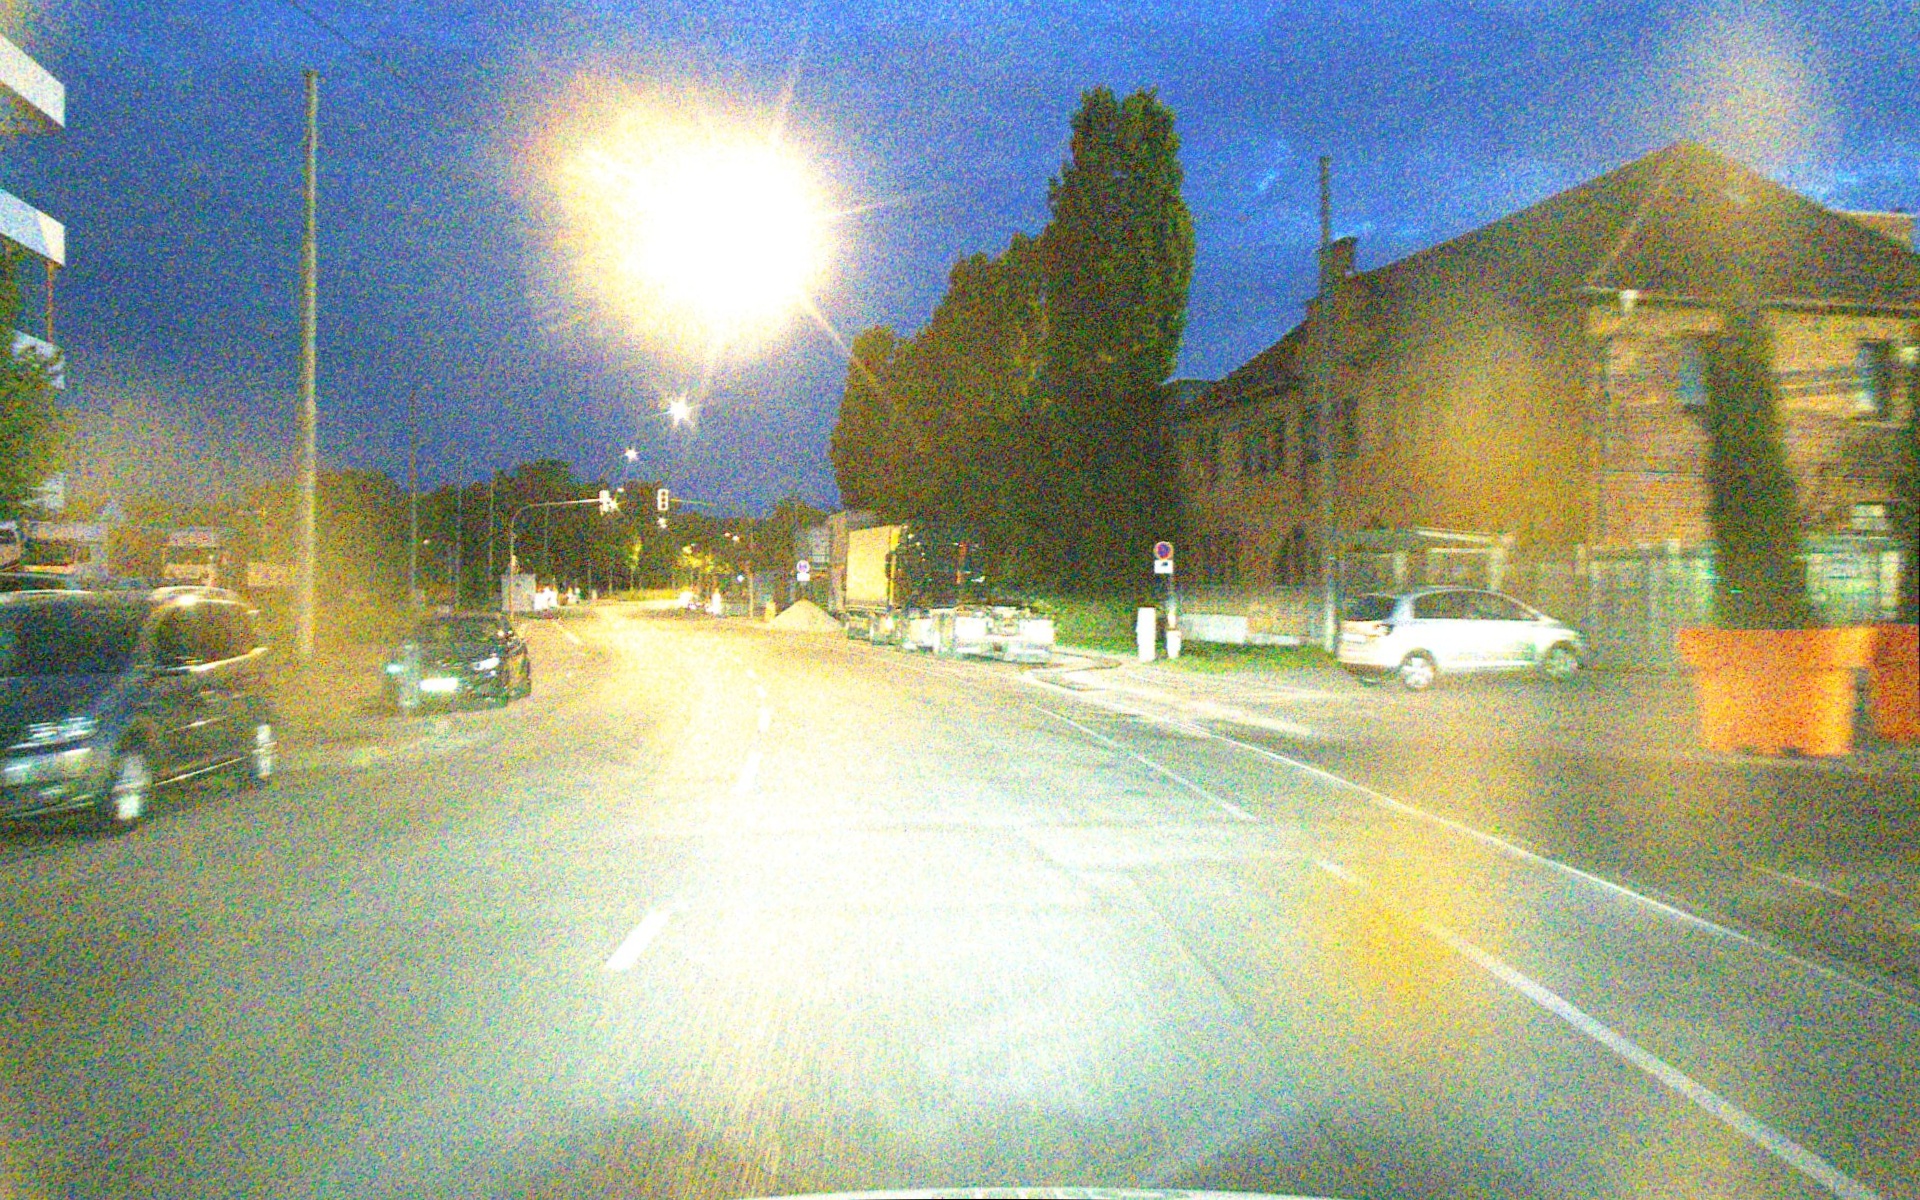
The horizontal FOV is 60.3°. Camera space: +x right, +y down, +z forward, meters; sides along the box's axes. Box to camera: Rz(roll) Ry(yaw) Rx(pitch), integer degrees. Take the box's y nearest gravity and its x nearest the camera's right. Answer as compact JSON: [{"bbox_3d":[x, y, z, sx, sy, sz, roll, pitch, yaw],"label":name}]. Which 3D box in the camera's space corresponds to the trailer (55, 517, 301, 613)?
[{"bbox_3d":[-38.104,-1.583,81.719,2.993,4.221,15.015,1,0,9],"label":"trailer"}]

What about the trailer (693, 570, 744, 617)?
[{"bbox_3d":[-15.799,-0.399,108.028,2.572,2.895,4.687,1,-1,-17],"label":"trailer"}]

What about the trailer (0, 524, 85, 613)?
[{"bbox_3d":[-49.764,-1.616,82.547,2.993,4.433,15.011,1,0,5],"label":"trailer"}]

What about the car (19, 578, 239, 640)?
[{"bbox_3d":[-20.366,0.212,40.695,4.363,1.478,2.058,0,0,-7],"label":"car"}]

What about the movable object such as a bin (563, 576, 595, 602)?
[{"bbox_3d":[-35.685,-1.026,154.973,1.953,2.418,4.701,-1,0,-1],"label":"movable object such as a bin"}]

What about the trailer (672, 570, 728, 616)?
[{"bbox_3d":[-19.263,-0.486,122.217,3.426,3.275,4.842,1,-1,-17],"label":"trailer"}]

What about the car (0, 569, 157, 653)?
[{"bbox_3d":[-19.561,0.216,34.872,4.325,1.710,1.957,0,0,-11],"label":"car"}]

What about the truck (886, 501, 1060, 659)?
[{"bbox_3d":[0.137,-0.494,45.057,2.708,3.849,9.106,0,0,-13],"label":"truck"}]

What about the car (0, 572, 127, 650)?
[{"bbox_3d":[-19.114,0.204,32.723,4.323,1.504,1.847,0,0,-10],"label":"car"}]

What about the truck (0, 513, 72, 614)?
[{"bbox_3d":[-43.082,-1.632,74.097,2.993,4.433,5.570,1,0,7],"label":"truck"}]

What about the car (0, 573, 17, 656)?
[{"bbox_3d":[-18.431,0.231,27.702,4.188,1.418,1.824,0,0,-10],"label":"car"}]

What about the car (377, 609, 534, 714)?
[{"bbox_3d":[-7.669,0.871,25.516,1.781,1.395,4.350,-1,0,-10],"label":"car"}]

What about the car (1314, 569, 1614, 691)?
[{"bbox_3d":[8.087,0.439,26.649,4.254,1.675,1.885,-3,1,-15],"label":"car"}]

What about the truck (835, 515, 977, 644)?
[{"bbox_3d":[-1.981,-0.619,54.714,2.708,3.849,10.189,0,0,-14],"label":"truck"}]

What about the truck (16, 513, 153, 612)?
[{"bbox_3d":[-39.217,-1.635,74.275,2.993,4.221,4.940,1,0,9],"label":"truck"}]

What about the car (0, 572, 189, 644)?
[{"bbox_3d":[-20.169,0.185,37.997,4.056,1.607,1.837,0,0,-10],"label":"car"}]

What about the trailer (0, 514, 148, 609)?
[{"bbox_3d":[-45.989,-1.827,81.402,2.993,4.433,15.014,1,0,7],"label":"trailer"}]

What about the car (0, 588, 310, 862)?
[{"bbox_3d":[-6.385,0.726,11.979,1.829,1.620,4.491,0,0,-4],"label":"car"}]

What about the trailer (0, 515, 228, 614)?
[{"bbox_3d":[-42.050,-1.627,82.088,2.993,4.433,15.014,1,0,7],"label":"trailer"}]

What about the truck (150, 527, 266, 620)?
[{"bbox_3d":[-34.095,-1.183,75.134,2.995,4.001,4.504,1,0,2],"label":"truck"}]

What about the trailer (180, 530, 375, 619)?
[{"bbox_3d":[-33.805,-1.197,82.999,2.994,4.001,15.007,1,0,2],"label":"trailer"}]
